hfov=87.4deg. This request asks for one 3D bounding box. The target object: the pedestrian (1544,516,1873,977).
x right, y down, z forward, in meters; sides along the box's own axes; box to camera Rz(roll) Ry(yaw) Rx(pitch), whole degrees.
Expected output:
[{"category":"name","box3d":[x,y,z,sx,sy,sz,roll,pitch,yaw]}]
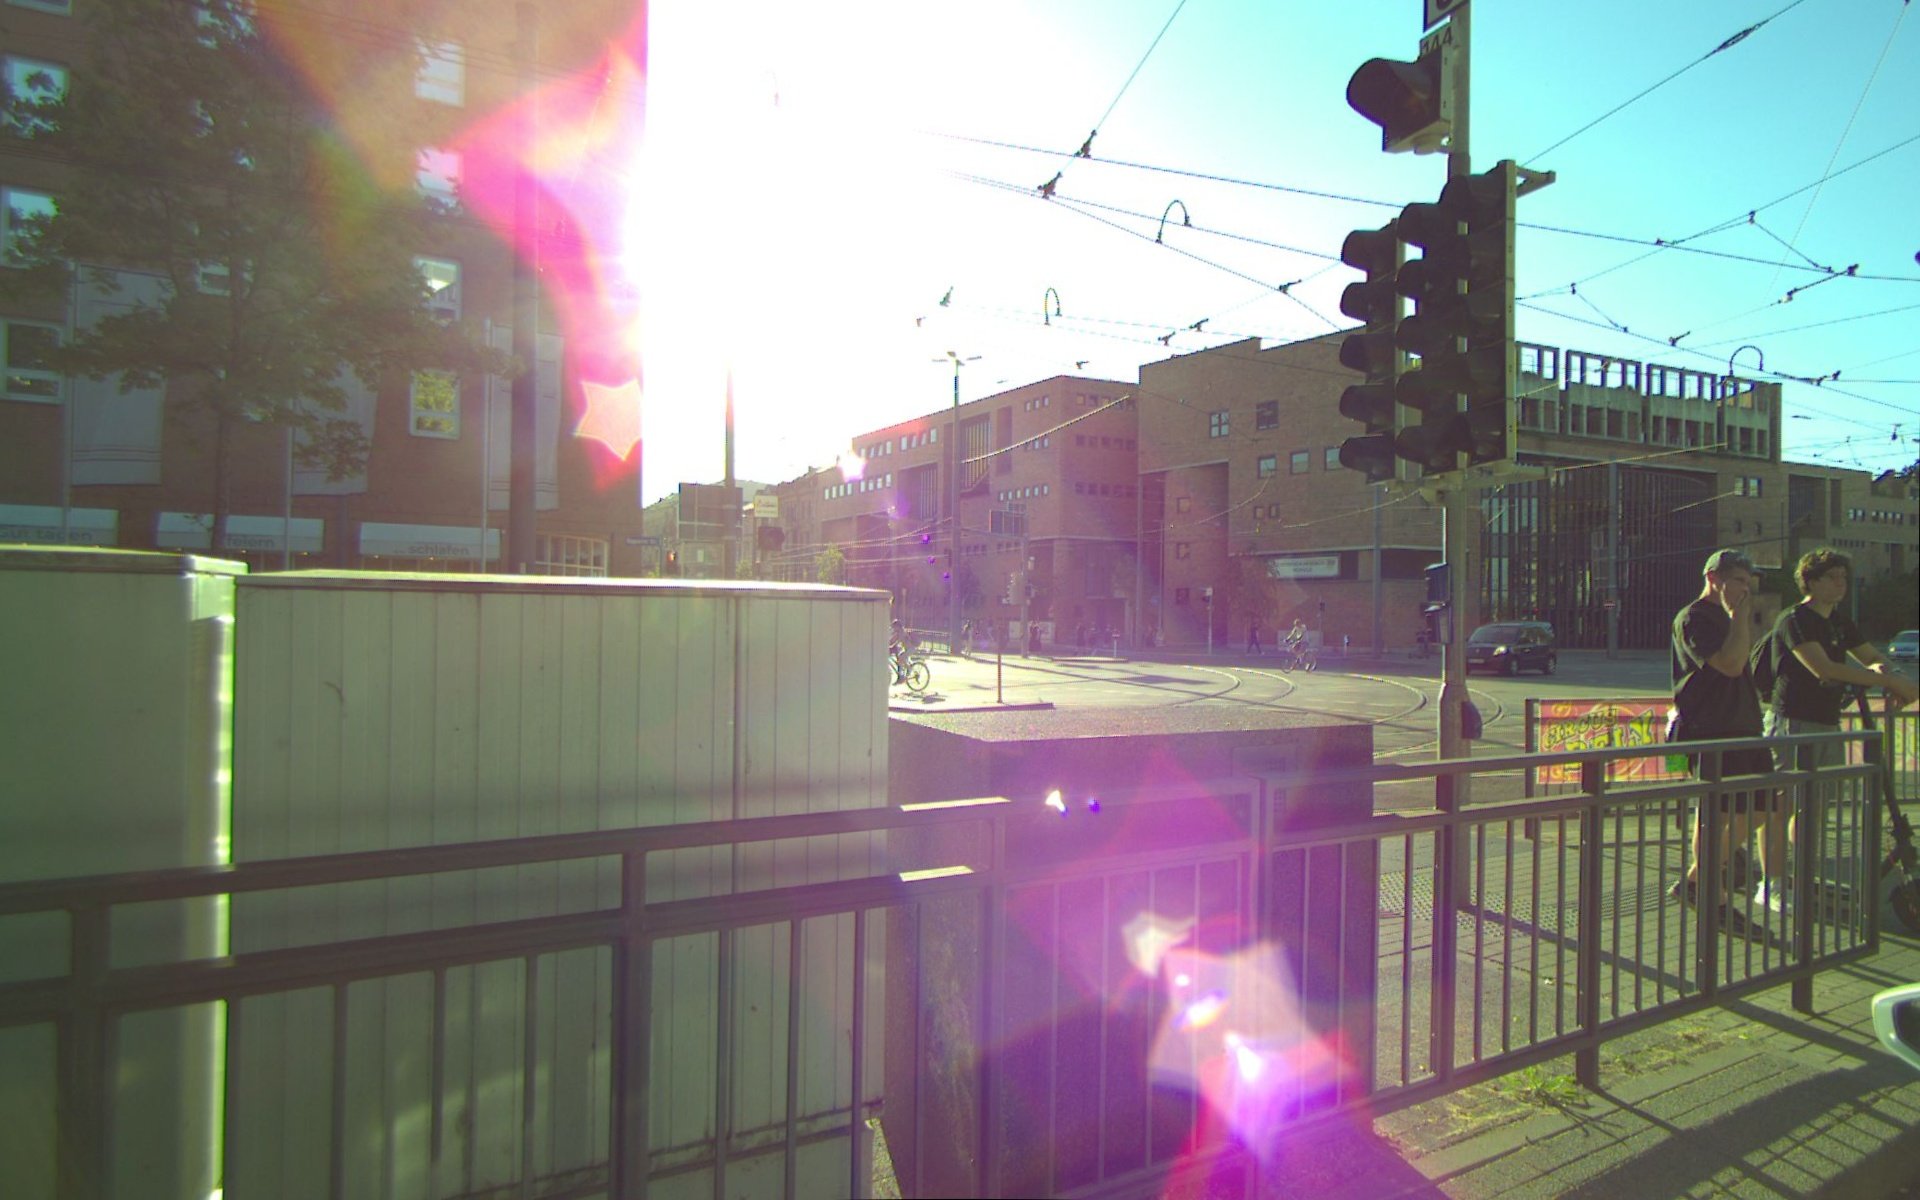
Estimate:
[{"category":"pedestrian","box3d":[3.578,0.617,4.820,1.157,1.909,0.847,2,0,-30]}]

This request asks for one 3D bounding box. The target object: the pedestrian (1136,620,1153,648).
[{"category":"pedestrian","box3d":[13.531,2.503,73.701,0.841,2.079,1.001,1,-1,-32]}]

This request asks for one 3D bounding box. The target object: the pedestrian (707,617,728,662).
[{"category":"pedestrian","box3d":[-11.036,1.780,45.718,0.597,2.040,0.848,1,-1,-38]}]

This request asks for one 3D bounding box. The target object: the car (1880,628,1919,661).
[{"category":"car","box3d":[48.948,2.280,51.716,3.962,1.598,1.610,1,-2,-36]}]

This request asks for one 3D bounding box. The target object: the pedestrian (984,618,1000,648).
[{"category":"pedestrian","box3d":[2.116,2.194,66.801,0.742,2.010,0.780,1,-1,-32]}]

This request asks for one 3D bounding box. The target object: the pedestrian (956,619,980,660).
[{"category":"pedestrian","box3d":[0.360,1.756,44.489,0.860,1.775,0.670,1,-2,-39]}]

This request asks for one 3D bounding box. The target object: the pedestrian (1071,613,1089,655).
[{"category":"pedestrian","box3d":[5.854,1.663,48.892,0.603,2.040,0.731,0,-1,30]}]

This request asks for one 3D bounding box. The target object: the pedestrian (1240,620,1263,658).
[{"category":"pedestrian","box3d":[14.790,1.974,50.937,0.866,1.927,0.718,2,0,-33]}]

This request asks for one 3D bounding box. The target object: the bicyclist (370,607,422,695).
[{"category":"bicyclist","box3d":[-10.580,0.944,18.847,0.752,1.595,0.656,1,-2,-37]}]

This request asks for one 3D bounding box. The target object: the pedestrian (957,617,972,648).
[{"category":"pedestrian","box3d":[0.304,2.195,68.178,0.644,2.040,0.780,1,-1,-32]}]

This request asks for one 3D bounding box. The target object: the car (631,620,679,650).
[{"category":"car","box3d":[-18.243,2.065,59.951,1.738,1.750,3.965,1,-2,-32]}]

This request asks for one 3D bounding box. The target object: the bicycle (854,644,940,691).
[{"category":"bicycle","box3d":[-1.502,1.610,24.113,1.993,1.064,0.647,2,-1,-35]}]

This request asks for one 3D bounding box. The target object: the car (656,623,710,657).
[{"category":"car","box3d":[-15.185,2.155,54.935,1.739,1.750,3.963,1,-2,-33]}]

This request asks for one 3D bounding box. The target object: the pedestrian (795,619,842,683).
[{"category":"pedestrian","box3d":[-4.191,1.489,29.777,0.941,1.822,0.991,2,0,32]}]

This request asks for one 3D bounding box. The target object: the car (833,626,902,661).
[{"category":"car","box3d":[-4.810,2.234,51.808,1.978,1.709,3.965,1,-2,-33]}]

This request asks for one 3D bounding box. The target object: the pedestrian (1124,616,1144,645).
[{"category":"pedestrian","box3d":[12.541,2.182,72.531,0.902,2.040,1.151,1,-1,-34]}]

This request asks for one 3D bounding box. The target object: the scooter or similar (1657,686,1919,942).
[{"category":"scooter or similar","box3d":[4.466,1.040,5.249,0.639,1.095,1.199,1,-1,-25]}]

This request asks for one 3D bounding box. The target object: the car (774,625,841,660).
[{"category":"car","box3d":[-7.801,2.140,51.183,1.978,1.709,3.965,1,-2,-33]}]

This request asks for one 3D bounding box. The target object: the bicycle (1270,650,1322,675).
[{"category":"bicycle","box3d":[11.136,2.072,33.241,1.948,0.781,0.586,1,-2,-35]}]

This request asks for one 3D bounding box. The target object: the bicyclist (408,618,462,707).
[{"category":"bicyclist","box3d":[-9.720,1.129,18.583,0.752,1.581,0.677,-1,0,-37]}]

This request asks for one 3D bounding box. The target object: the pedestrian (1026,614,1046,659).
[{"category":"pedestrian","box3d":[3.531,1.700,46.905,0.605,2.040,0.729,-1,-2,43]}]

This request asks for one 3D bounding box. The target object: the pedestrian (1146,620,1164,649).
[{"category":"pedestrian","box3d":[14.044,2.475,72.484,0.841,2.079,1.001,1,-1,-32]}]

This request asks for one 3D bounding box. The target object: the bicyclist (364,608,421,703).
[{"category":"bicyclist","box3d":[-9.746,0.939,17.256,0.752,1.590,0.656,1,-2,-37]}]

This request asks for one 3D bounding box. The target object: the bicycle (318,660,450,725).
[{"category":"bicycle","box3d":[-9.833,1.548,17.186,1.884,1.011,0.688,1,-2,-37]}]

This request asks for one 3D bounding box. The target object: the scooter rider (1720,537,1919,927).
[{"category":"scooter rider","box3d":[4.490,0.654,5.255,0.670,1.877,0.564,3,-2,-25]}]

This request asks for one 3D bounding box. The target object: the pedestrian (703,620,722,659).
[{"category":"pedestrian","box3d":[-11.769,1.880,47.753,0.597,1.843,0.848,1,-1,-38]}]

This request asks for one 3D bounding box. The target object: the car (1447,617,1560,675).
[{"category":"car","box3d":[18.186,1.498,33.573,3.964,1.786,1.854,1,0,-37]}]

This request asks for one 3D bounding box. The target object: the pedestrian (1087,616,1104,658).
[{"category":"pedestrian","box3d":[6.568,1.791,48.684,0.603,2.040,0.731,0,-1,30]}]

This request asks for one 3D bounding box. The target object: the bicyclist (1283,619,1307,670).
[{"category":"bicyclist","box3d":[11.061,1.470,33.188,0.509,1.647,0.583,1,-1,-34]}]

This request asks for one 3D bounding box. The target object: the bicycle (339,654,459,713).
[{"category":"bicycle","box3d":[-10.532,1.547,18.890,1.884,1.011,0.648,1,-2,-37]}]

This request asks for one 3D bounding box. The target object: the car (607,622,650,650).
[{"category":"car","box3d":[-21.398,2.286,64.811,1.738,1.750,3.965,1,-2,-32]}]

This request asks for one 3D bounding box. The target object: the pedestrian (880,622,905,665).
[{"category":"pedestrian","box3d":[-2.845,1.818,42.326,0.857,1.775,0.672,1,-1,-30]}]

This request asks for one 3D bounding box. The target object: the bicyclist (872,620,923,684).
[{"category":"bicyclist","box3d":[-1.503,1.237,24.112,1.022,1.494,0.649,2,-1,-35]}]

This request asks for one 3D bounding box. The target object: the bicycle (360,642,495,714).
[{"category":"bicycle","box3d":[-9.794,1.407,18.519,2.091,1.157,0.680,-1,0,-37]}]

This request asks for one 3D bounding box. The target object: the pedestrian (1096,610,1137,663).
[{"category":"pedestrian","box3d":[6.216,1.456,39.836,1.193,2.040,1.028,2,0,-30]}]

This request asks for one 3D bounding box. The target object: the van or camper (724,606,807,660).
[{"category":"van or camper","box3d":[-9.320,1.564,47.939,1.981,2.451,4.980,1,-2,-36]}]

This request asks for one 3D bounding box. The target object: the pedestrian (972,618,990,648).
[{"category":"pedestrian","box3d":[1.410,2.170,66.313,0.917,2.010,0.780,1,-1,-32]}]
